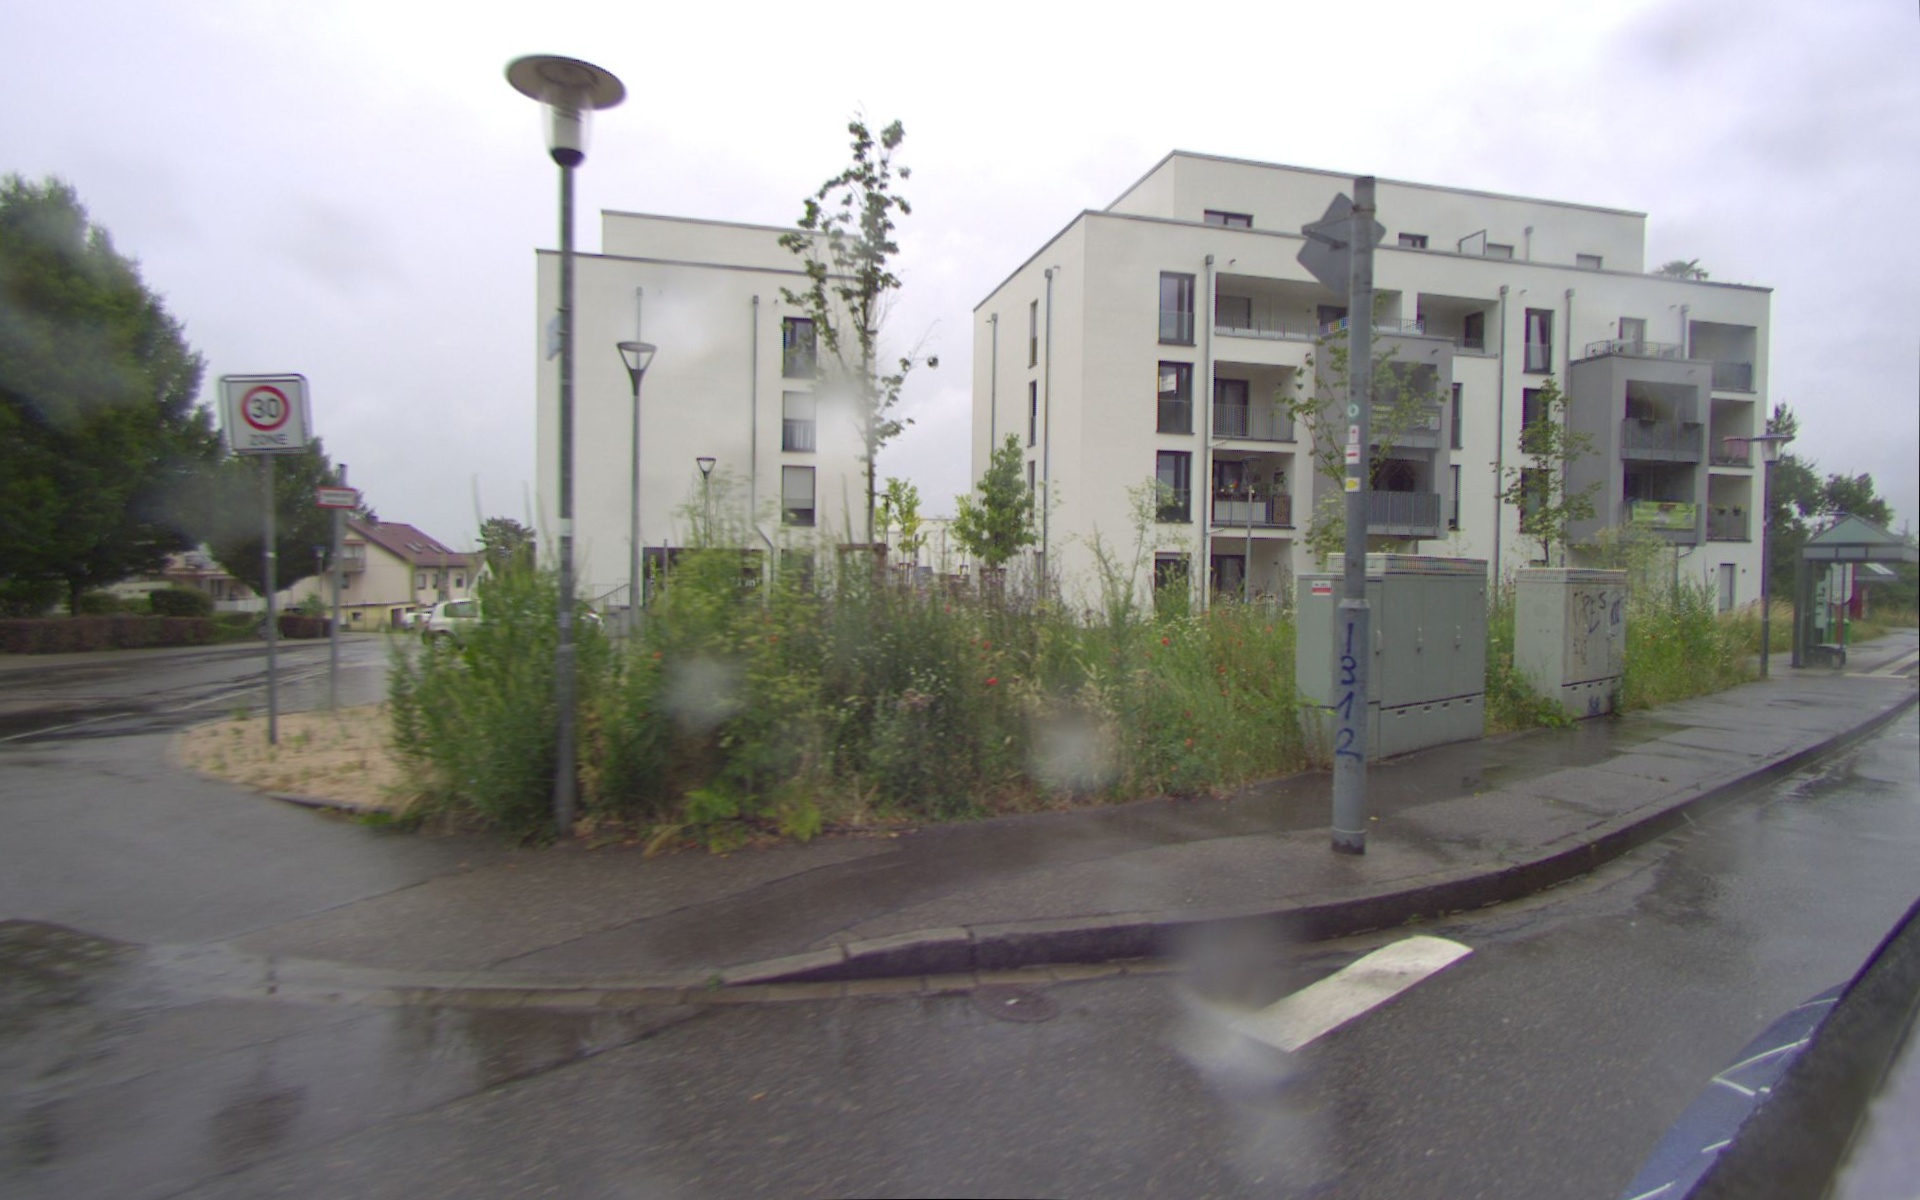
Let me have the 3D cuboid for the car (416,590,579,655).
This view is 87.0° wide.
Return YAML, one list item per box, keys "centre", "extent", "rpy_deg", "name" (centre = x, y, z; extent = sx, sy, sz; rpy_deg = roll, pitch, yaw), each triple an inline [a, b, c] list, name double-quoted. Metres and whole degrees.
- centre: [-11.842, 0.536, 26.172]
  extent: [3.629, 1.459, 1.725]
  rpy_deg: [-3, 2, -19]
  name: "car"
